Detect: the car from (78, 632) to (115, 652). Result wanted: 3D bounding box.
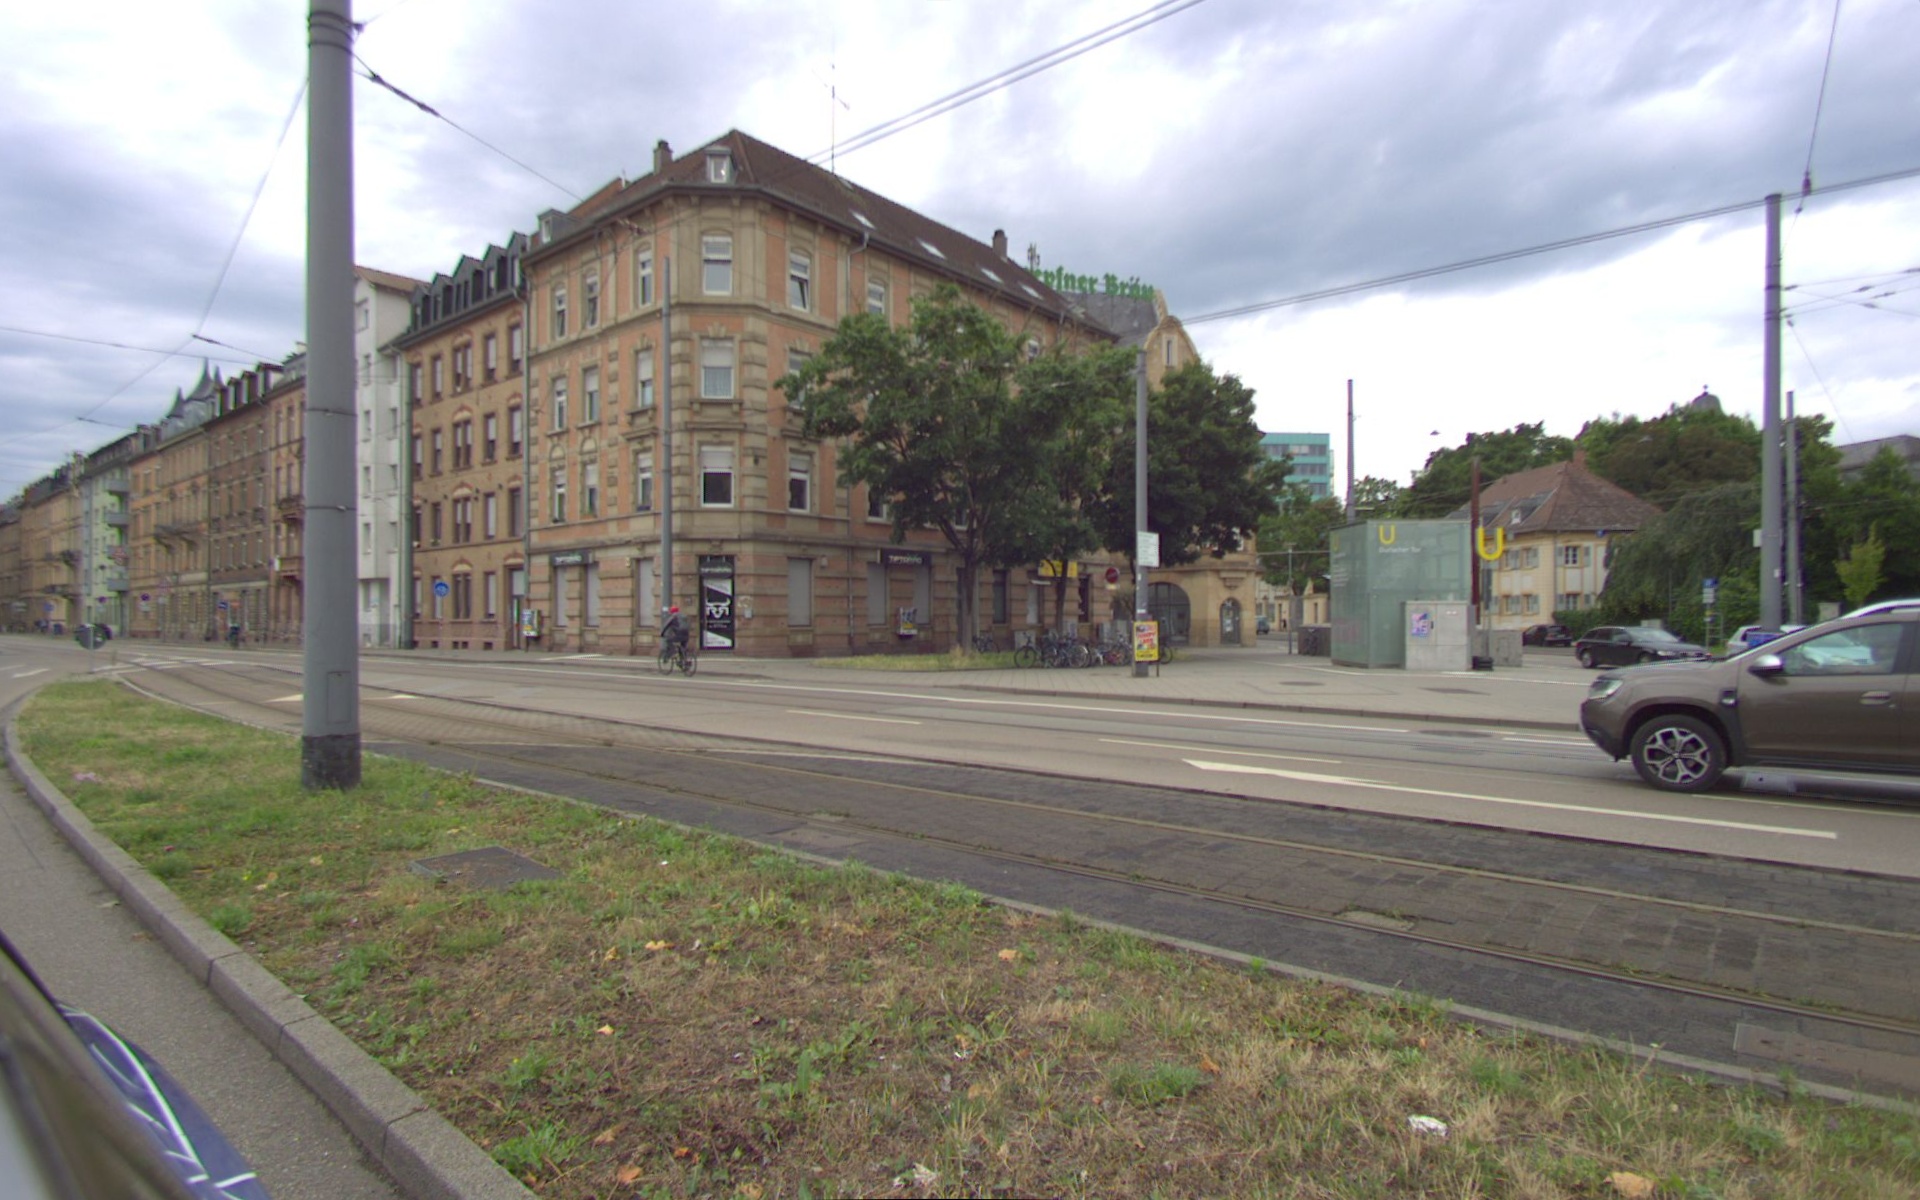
[{"bbox_3d":[-68.778,3.301,80.586,3.828,1.491,1.828,-1,-1,43],"label":"car"}]

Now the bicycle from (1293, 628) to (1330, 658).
[{"bbox_3d":[13.924,1.688,40.127,0.730,1.123,2.361,-1,-1,3],"label":"bicycle"}]

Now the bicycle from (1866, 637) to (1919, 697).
[{"bbox_3d":[19.955,1.380,20.715,0.845,1.217,2.197,0,-1,1],"label":"bicycle"}]

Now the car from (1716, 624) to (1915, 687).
[{"bbox_3d":[21.892,1.382,26.136,1.739,1.465,4.156,-1,-1,4],"label":"car"}]

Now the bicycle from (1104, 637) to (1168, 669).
[{"bbox_3d":[5.751,1.714,33.158,0.576,0.994,2.224,0,-1,-39],"label":"bicycle"}]

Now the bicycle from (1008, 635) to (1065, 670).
[{"bbox_3d":[2.242,1.528,29.754,0.492,0.994,1.872,1,-2,-41],"label":"bicycle"}]

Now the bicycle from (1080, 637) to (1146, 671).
[{"bbox_3d":[4.794,1.675,31.836,0.601,0.994,2.224,0,-1,-39],"label":"bicycle"}]

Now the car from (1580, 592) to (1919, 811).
[{"bbox_3d":[7.762,0.774,8.367,4.229,1.652,1.778,-1,-1,42],"label":"car"}]

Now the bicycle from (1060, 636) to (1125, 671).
[{"bbox_3d":[4.027,1.622,30.839,0.492,0.994,2.224,0,-1,-39],"label":"bicycle"}]

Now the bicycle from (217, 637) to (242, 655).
[{"bbox_3d":[-38.727,2.426,53.664,1.716,0.922,0.600,-1,-1,37],"label":"bicycle"}]

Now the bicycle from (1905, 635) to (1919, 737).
[{"bbox_3d":[12.727,1.083,12.992,0.816,1.252,1.971,-3,-4,43],"label":"bicycle"}]

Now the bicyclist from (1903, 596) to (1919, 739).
[{"bbox_3d":[12.777,0.854,13.051,0.816,1.812,1.015,-3,-3,43],"label":"bicyclist"}]

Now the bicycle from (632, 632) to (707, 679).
[{"bbox_3d":[-7.798,1.470,27.111,2.232,1.217,0.816,-2,-3,40],"label":"bicycle"}]

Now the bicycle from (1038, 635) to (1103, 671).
[{"bbox_3d":[3.309,1.588,30.507,0.472,1.014,2.224,0,-1,-39],"label":"bicycle"}]

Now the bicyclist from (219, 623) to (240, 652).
[{"bbox_3d":[-38.678,2.002,53.614,0.941,1.506,0.655,-1,-1,37],"label":"bicyclist"}]

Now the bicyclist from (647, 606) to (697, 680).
[{"bbox_3d":[-7.692,1.147,27.037,1.048,1.906,0.821,-2,-3,39],"label":"bicyclist"}]

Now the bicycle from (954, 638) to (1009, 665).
[{"bbox_3d":[0.802,1.950,37.999,1.982,0.921,0.655,-4,-5,31],"label":"bicycle"}]

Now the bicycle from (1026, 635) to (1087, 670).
[{"bbox_3d":[2.857,1.546,30.181,0.513,0.994,2.041,0,-1,-39],"label":"bicycle"}]

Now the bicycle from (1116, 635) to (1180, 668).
[{"bbox_3d":[6.351,1.713,34.283,0.678,1.047,2.224,0,-1,-39],"label":"bicycle"}]

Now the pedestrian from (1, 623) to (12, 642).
[{"bbox_3d":[-104.981,3.597,111.389,0.733,2.029,0.804,-1,-2,41],"label":"pedestrian"}]

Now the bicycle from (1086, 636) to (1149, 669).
[{"bbox_3d":[5.027,1.674,32.495,0.492,0.994,2.224,0,-1,-39],"label":"bicycle"}]

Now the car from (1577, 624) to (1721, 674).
[{"bbox_3d":[21.913,1.514,32.383,1.673,1.460,4.144,-1,-1,-1],"label":"car"}]

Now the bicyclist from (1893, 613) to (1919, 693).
[{"bbox_3d":[19.959,1.081,20.716,0.843,1.635,0.917,0,-1,1],"label":"bicyclist"}]

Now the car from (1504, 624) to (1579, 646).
[{"bbox_3d":[35.600,2.140,62.093,1.904,1.298,4.006,0,-1,-7],"label":"car"}]
